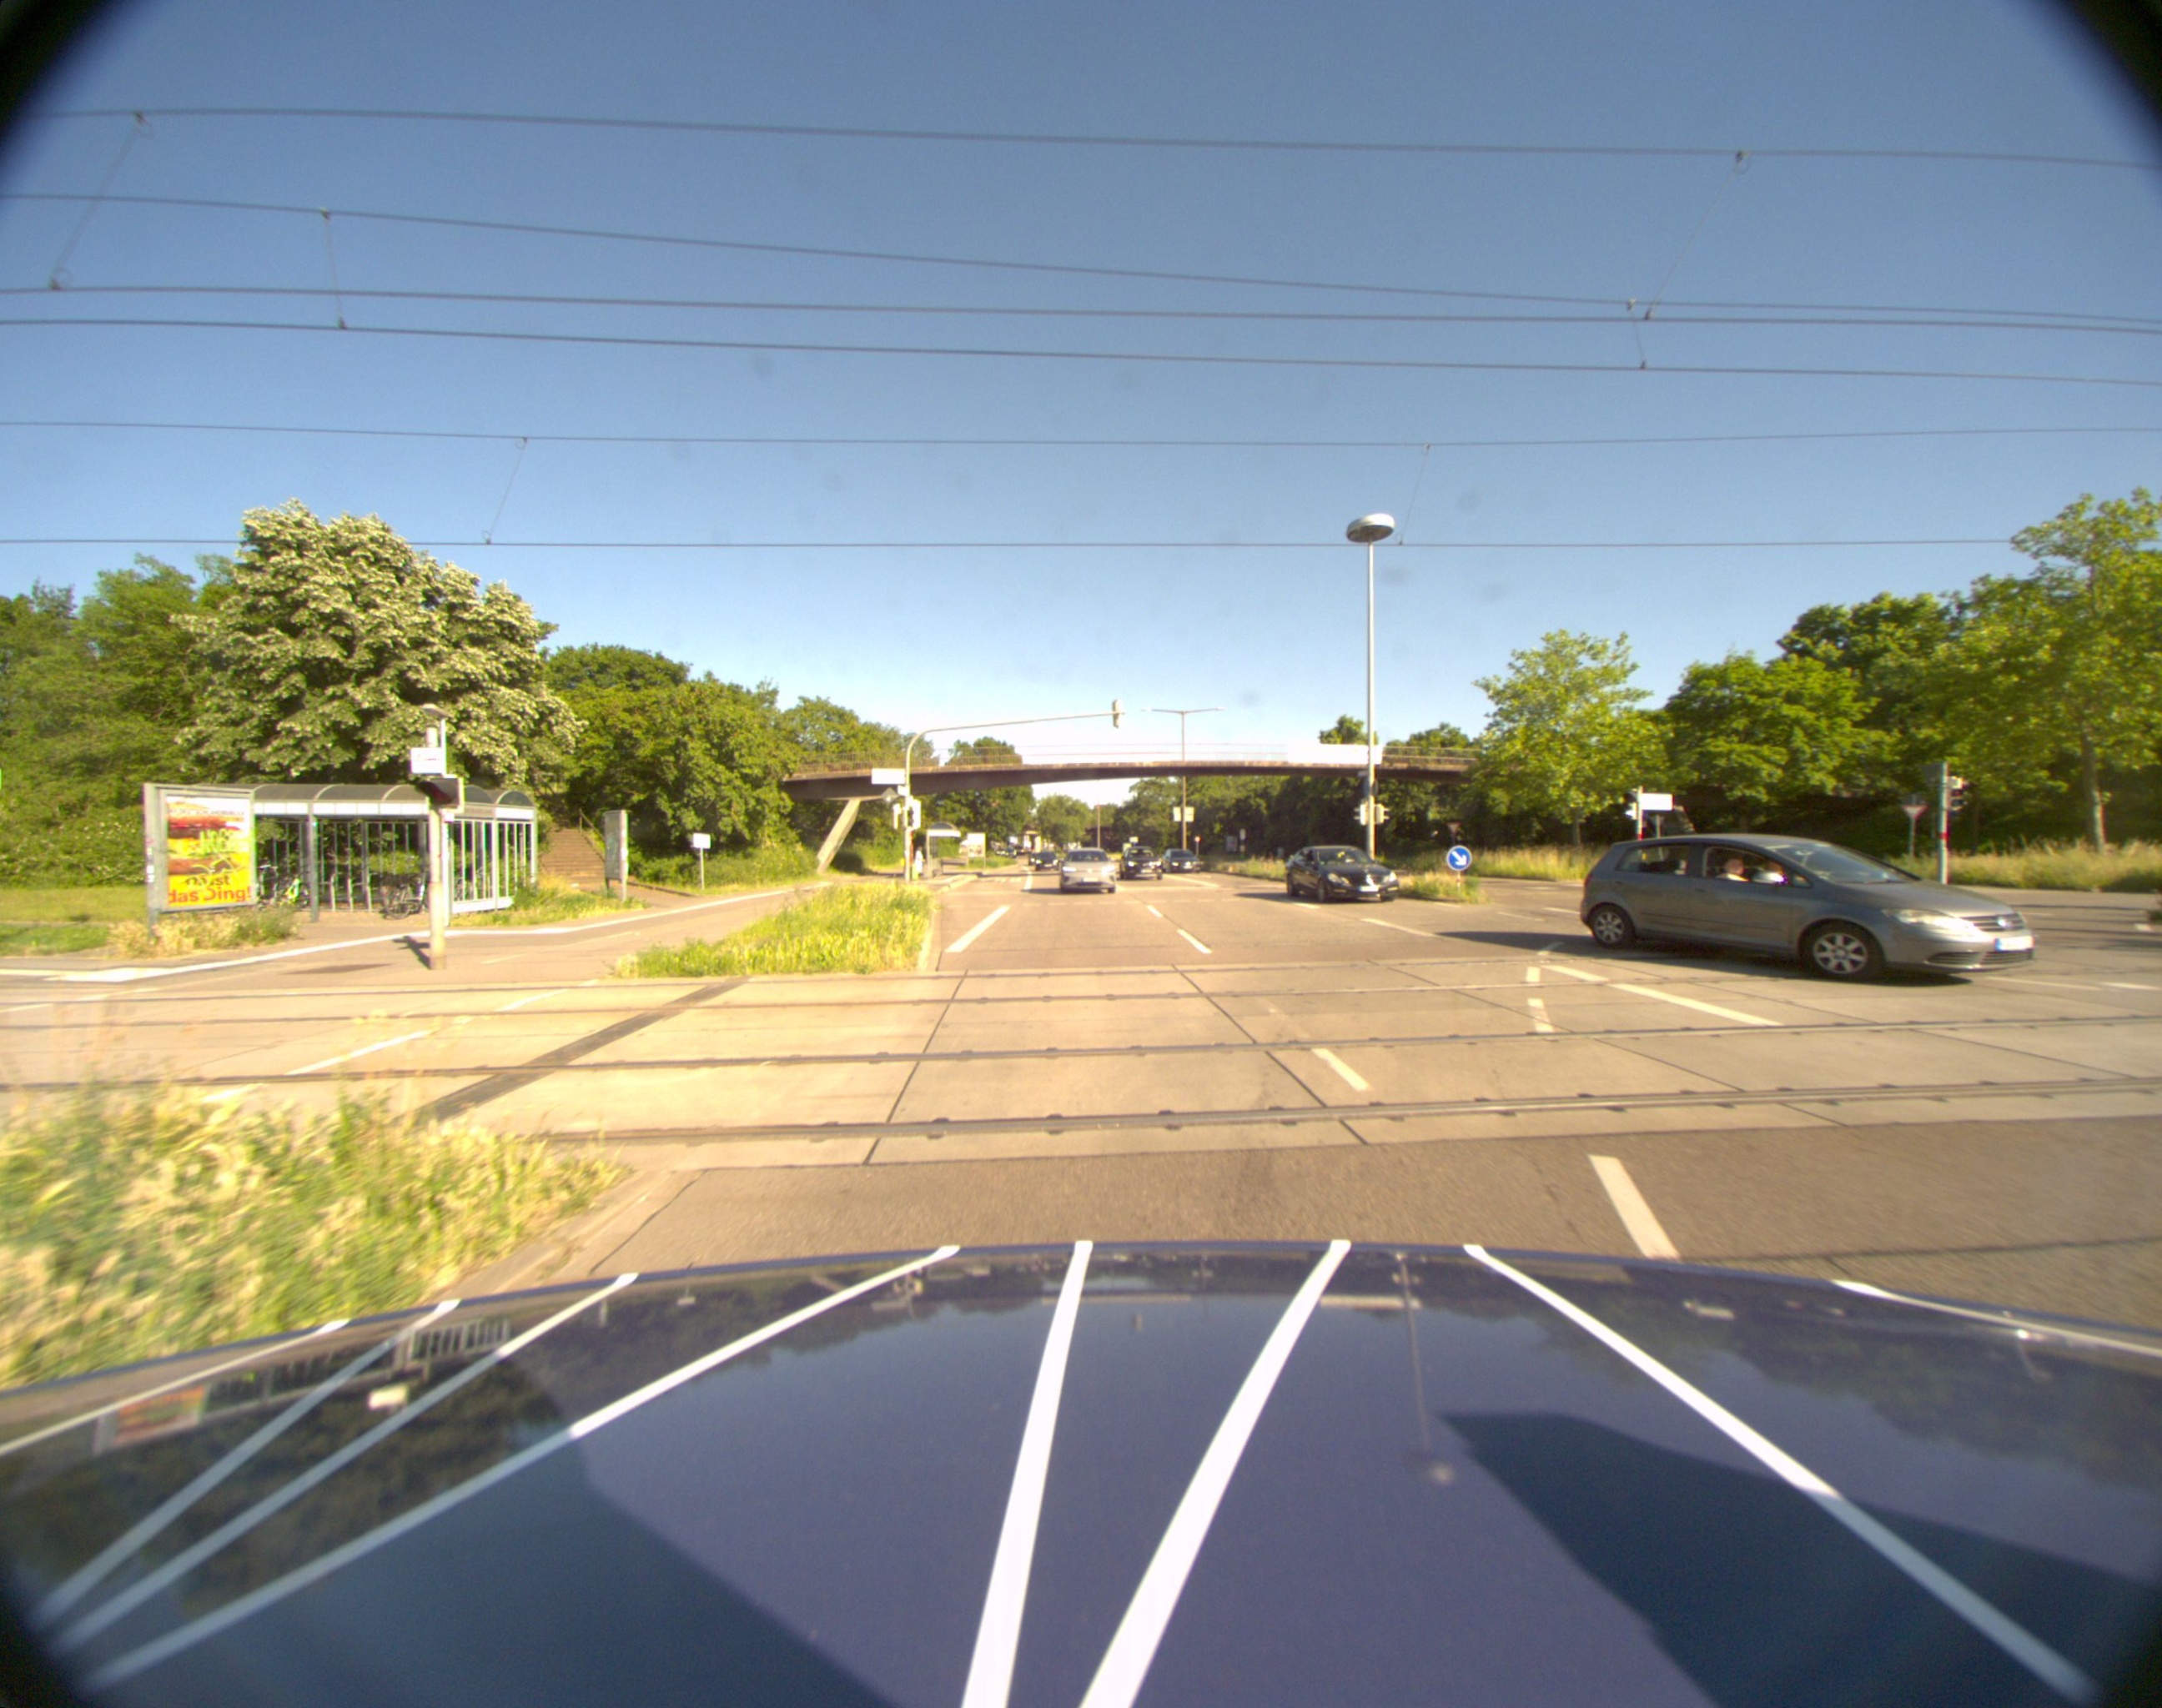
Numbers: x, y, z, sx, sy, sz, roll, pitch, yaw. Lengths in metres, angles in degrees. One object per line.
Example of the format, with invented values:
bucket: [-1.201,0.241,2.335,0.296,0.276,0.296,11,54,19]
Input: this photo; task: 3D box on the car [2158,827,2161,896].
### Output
car: [29.073,0.169,18.317,3.998,1.744,1.777,-1,1,-4]

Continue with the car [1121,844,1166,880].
car: [3.050,0.372,37.920,1.714,1.653,3.854,-2,1,-3]

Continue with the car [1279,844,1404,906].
car: [7.002,0.495,20.924,1.779,1.478,4.528,-1,1,-1]

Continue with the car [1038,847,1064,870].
car: [-2.341,0.320,58.412,1.874,1.611,3.834,-1,1,-5]

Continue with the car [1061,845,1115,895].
car: [0.181,0.504,27.332,1.802,1.665,4.238,0,1,-1]

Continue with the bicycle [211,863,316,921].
bicycle: [-18.671,0.842,17.418,0.431,1.062,1.783,2,5,-1]

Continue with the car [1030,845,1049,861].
car: [-4.463,-0.103,81.708,1.874,1.611,3.834,-1,1,-5]

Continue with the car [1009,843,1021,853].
car: [-11.152,-1.042,128.527,1.874,1.611,3.833,-1,1,-7]

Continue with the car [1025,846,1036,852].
car: [-13.500,-1.292,203.105,1.876,1.611,3.830,-1,1,-17]

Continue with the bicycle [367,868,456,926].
bicycle: [-15.259,0.946,17.387,0.431,1.062,1.783,2,5,-1]

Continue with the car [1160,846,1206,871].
car: [6.182,0.259,46.589,1.796,1.487,3.998,0,0,-7]

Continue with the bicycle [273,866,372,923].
bicycle: [-17.383,0.904,17.473,0.431,1.062,1.783,2,5,-1]

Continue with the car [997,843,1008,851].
car: [-14.910,-1.351,144.552,1.874,1.611,3.833,-1,1,-7]

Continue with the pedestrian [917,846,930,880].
pedestrian: [-7.908,0.442,38.131,0.589,1.653,0.716,0,1,-6]

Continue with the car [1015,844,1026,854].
car: [-12.157,-0.940,153.357,2.000,2.002,3.997,-1,1,-7]

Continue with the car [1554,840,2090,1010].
car: [8.433,0.614,9.341,1.848,1.562,4.380,-1,1,-14]

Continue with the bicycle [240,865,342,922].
bicycle: [-18.049,0.874,17.421,0.431,1.062,1.783,2,5,-1]
